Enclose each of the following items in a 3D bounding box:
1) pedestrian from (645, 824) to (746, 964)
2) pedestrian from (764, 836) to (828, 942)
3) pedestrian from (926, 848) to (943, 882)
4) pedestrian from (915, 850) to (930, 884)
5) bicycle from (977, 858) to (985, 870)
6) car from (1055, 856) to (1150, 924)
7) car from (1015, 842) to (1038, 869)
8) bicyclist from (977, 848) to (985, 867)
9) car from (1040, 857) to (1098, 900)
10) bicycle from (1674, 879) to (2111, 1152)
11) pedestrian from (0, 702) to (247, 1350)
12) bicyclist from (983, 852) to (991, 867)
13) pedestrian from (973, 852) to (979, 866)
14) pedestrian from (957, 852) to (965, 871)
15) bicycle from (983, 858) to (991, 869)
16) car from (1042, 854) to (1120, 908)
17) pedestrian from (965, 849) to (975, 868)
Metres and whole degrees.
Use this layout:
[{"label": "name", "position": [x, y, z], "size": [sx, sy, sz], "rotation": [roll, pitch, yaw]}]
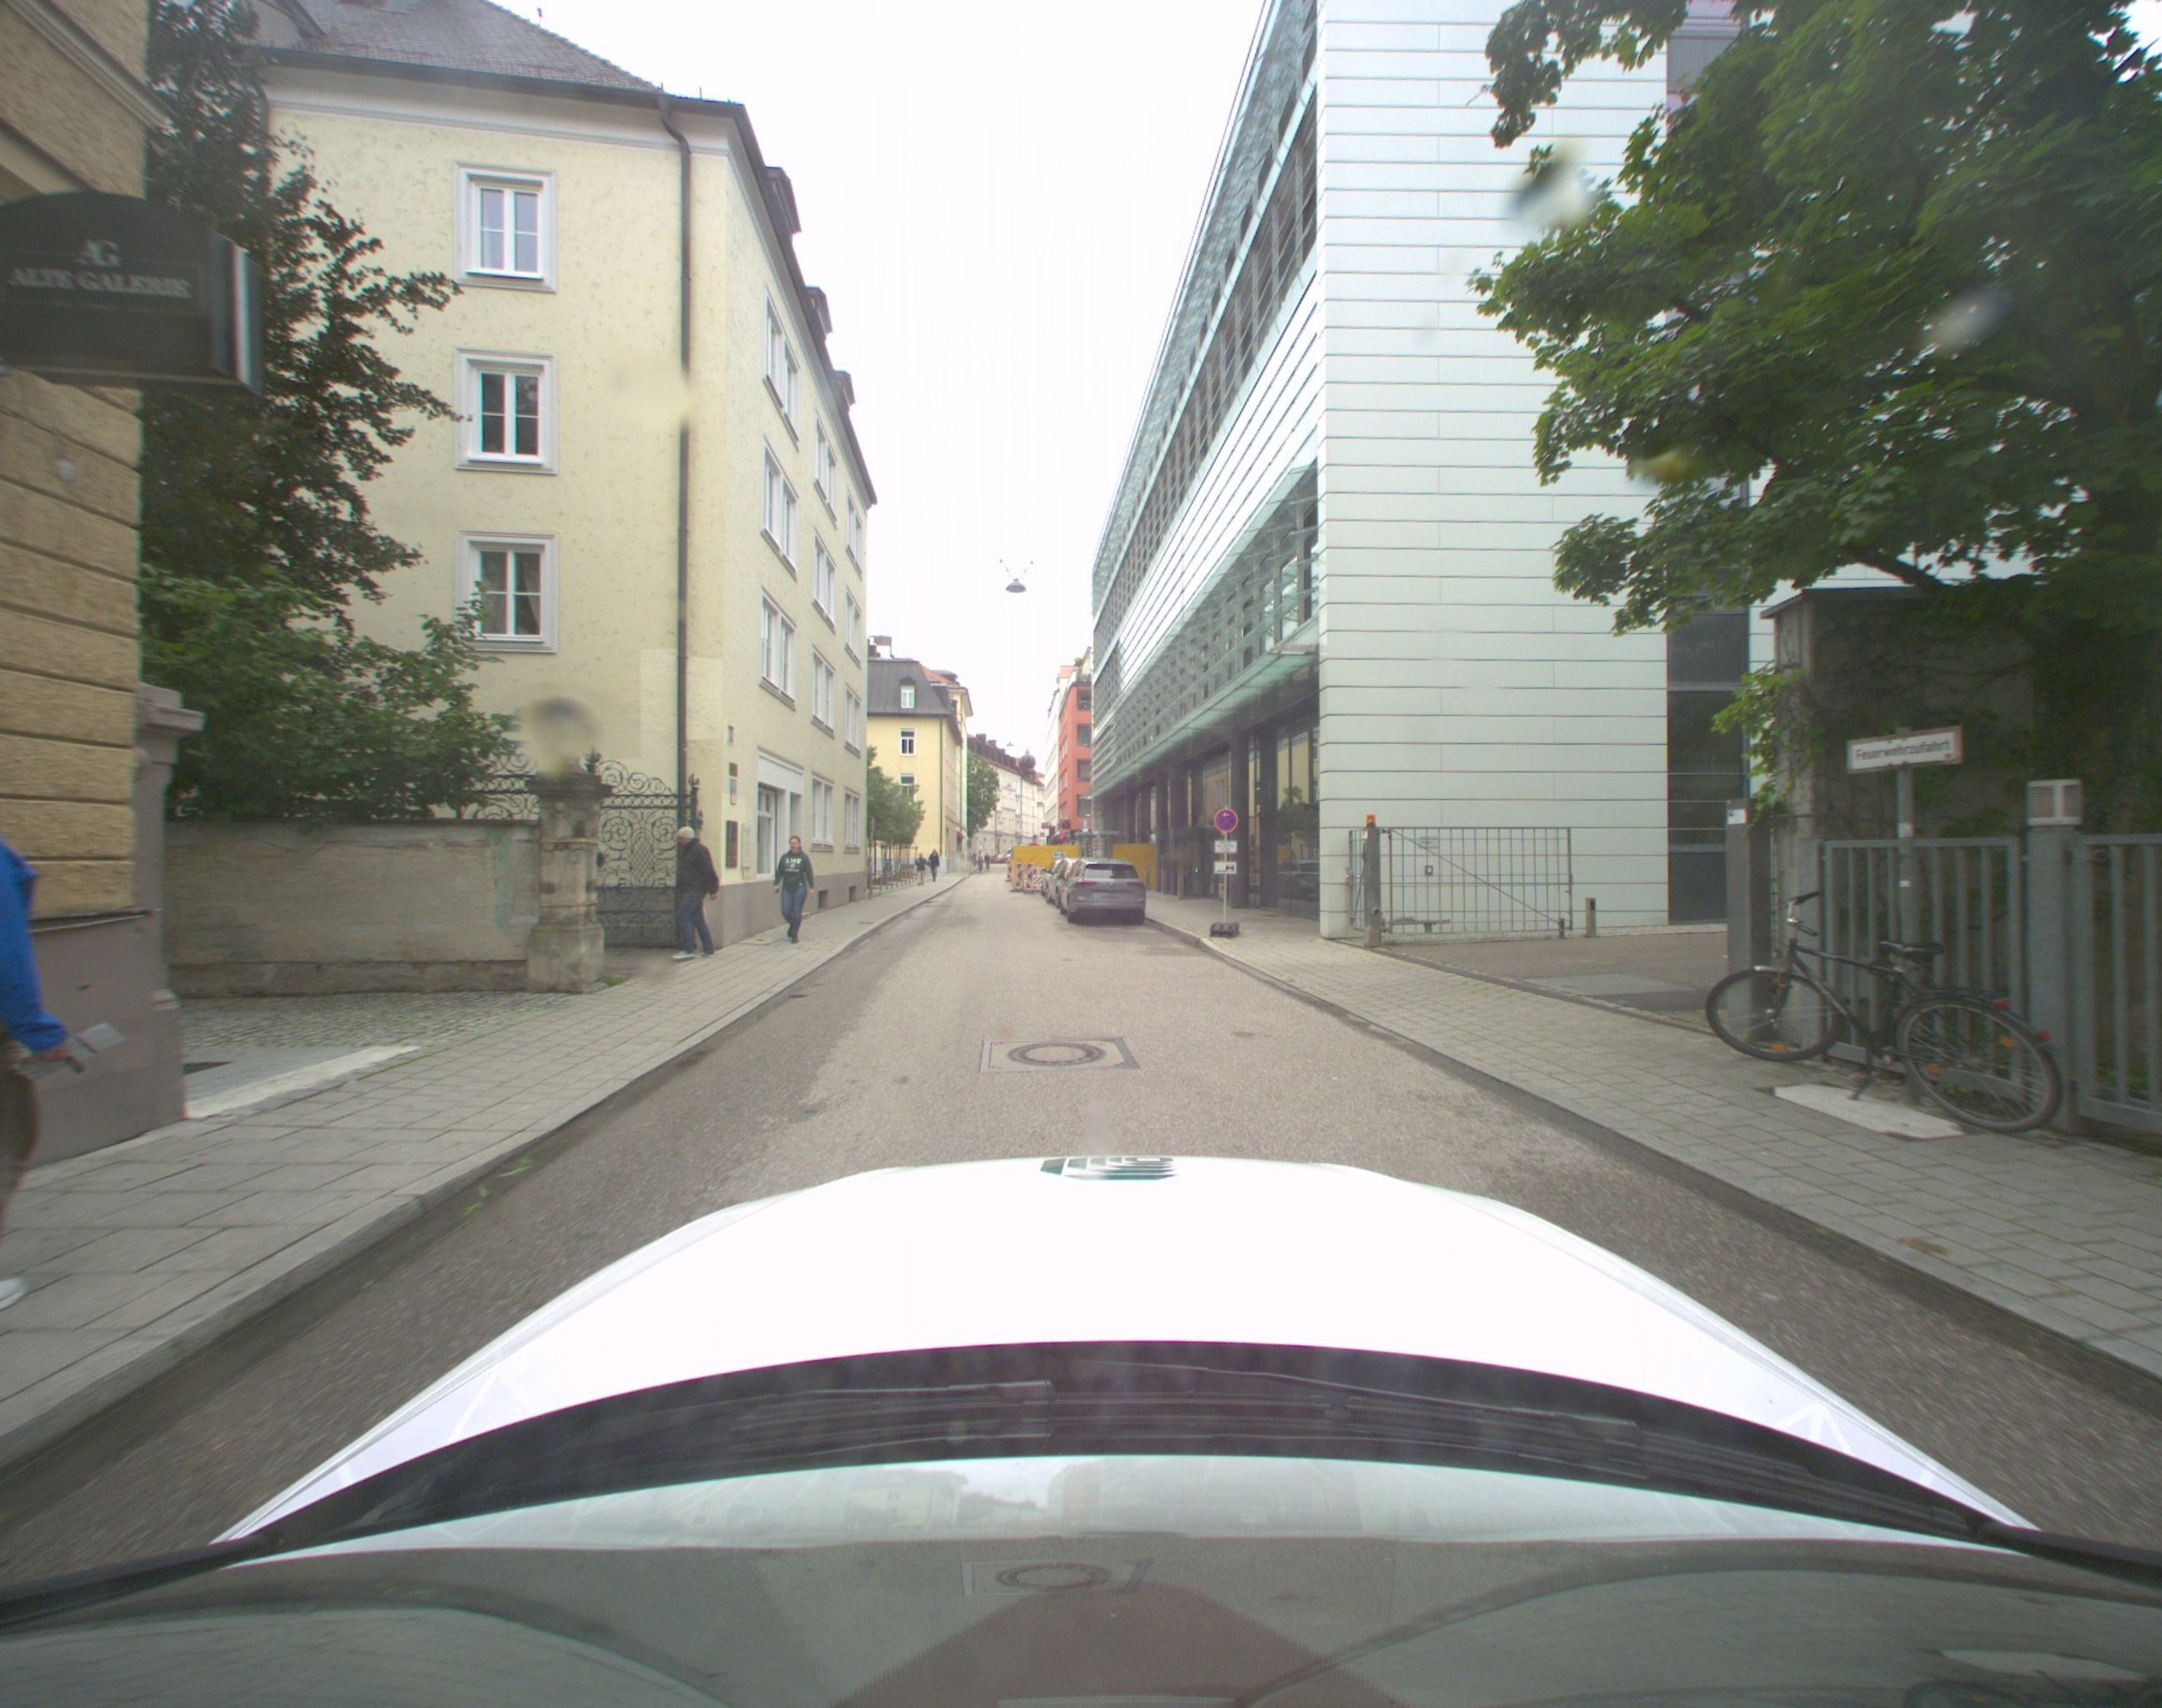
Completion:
[{"label": "pedestrian", "position": [-5.326, 0.526, 11.257], "size": [0.897, 1.827, 0.962], "rotation": [0, -1, 41]}, {"label": "pedestrian", "position": [-4.711, 0.569, 13.511], "size": [0.712, 1.666, 0.928], "rotation": [3, -1, -6]}, {"label": "pedestrian", "position": [-8.415, 0.621, 46.733], "size": [0.867, 1.881, 1.132], "rotation": [1, -1, -7]}, {"label": "pedestrian", "position": [-7.893, 0.643, 40.566], "size": [0.646, 1.676, 0.722], "rotation": [1, -1, -7]}, {"label": "bicycle", "position": [-8.612, 0.843, 70.110], "size": [0.660, 1.039, 2.000], "rotation": [0, 0, -6]}, {"label": "car", "position": [0.400, 0.780, 19.517], "size": [1.706, 1.432, 4.319], "rotation": [0, 0, -6]}, {"label": "car", "position": [-5.508, 0.161, 81.699], "size": [1.991, 2.536, 4.964], "rotation": [1, 0, -6]}, {"label": "bicyclist", "position": [-8.599, 0.320, 70.092], "size": [0.659, 1.643, 0.893], "rotation": [0, 0, -6]}, {"label": "car", "position": [-0.510, 0.849, 29.912], "size": [1.706, 1.414, 4.500], "rotation": [2, -1, -6]}, {"label": "bicycle", "position": [4.666, 0.821, 4.923], "size": [0.706, 1.198, 1.831], "rotation": [0, 3, -5]}, {"label": "pedestrian", "position": [-3.477, 0.490, 2.468], "size": [0.756, 1.854, 1.075], "rotation": [1, -1, -6]}, {"label": "bicyclist", "position": [-8.557, 0.492, 74.352], "size": [0.707, 1.371, 0.811], "rotation": [0, 0, -6]}, {"label": "pedestrian", "position": [-12.483, 0.628, 96.822], "size": [0.634, 1.675, 0.516], "rotation": [1, 0, -6]}, {"label": "pedestrian", "position": [-10.864, 0.687, 74.022], "size": [0.669, 1.648, 0.760], "rotation": [1, -1, -7]}, {"label": "bicycle", "position": [-8.558, 0.867, 74.370], "size": [0.707, 0.905, 1.805], "rotation": [0, 0, -6]}, {"label": "car", "position": [-0.100, 0.780, 24.777], "size": [1.707, 1.467, 4.223], "rotation": [2, -1, -9]}, {"label": "pedestrian", "position": [-10.067, 0.426, 73.803], "size": [0.838, 1.700, 0.801], "rotation": [1, -1, -7]}]
